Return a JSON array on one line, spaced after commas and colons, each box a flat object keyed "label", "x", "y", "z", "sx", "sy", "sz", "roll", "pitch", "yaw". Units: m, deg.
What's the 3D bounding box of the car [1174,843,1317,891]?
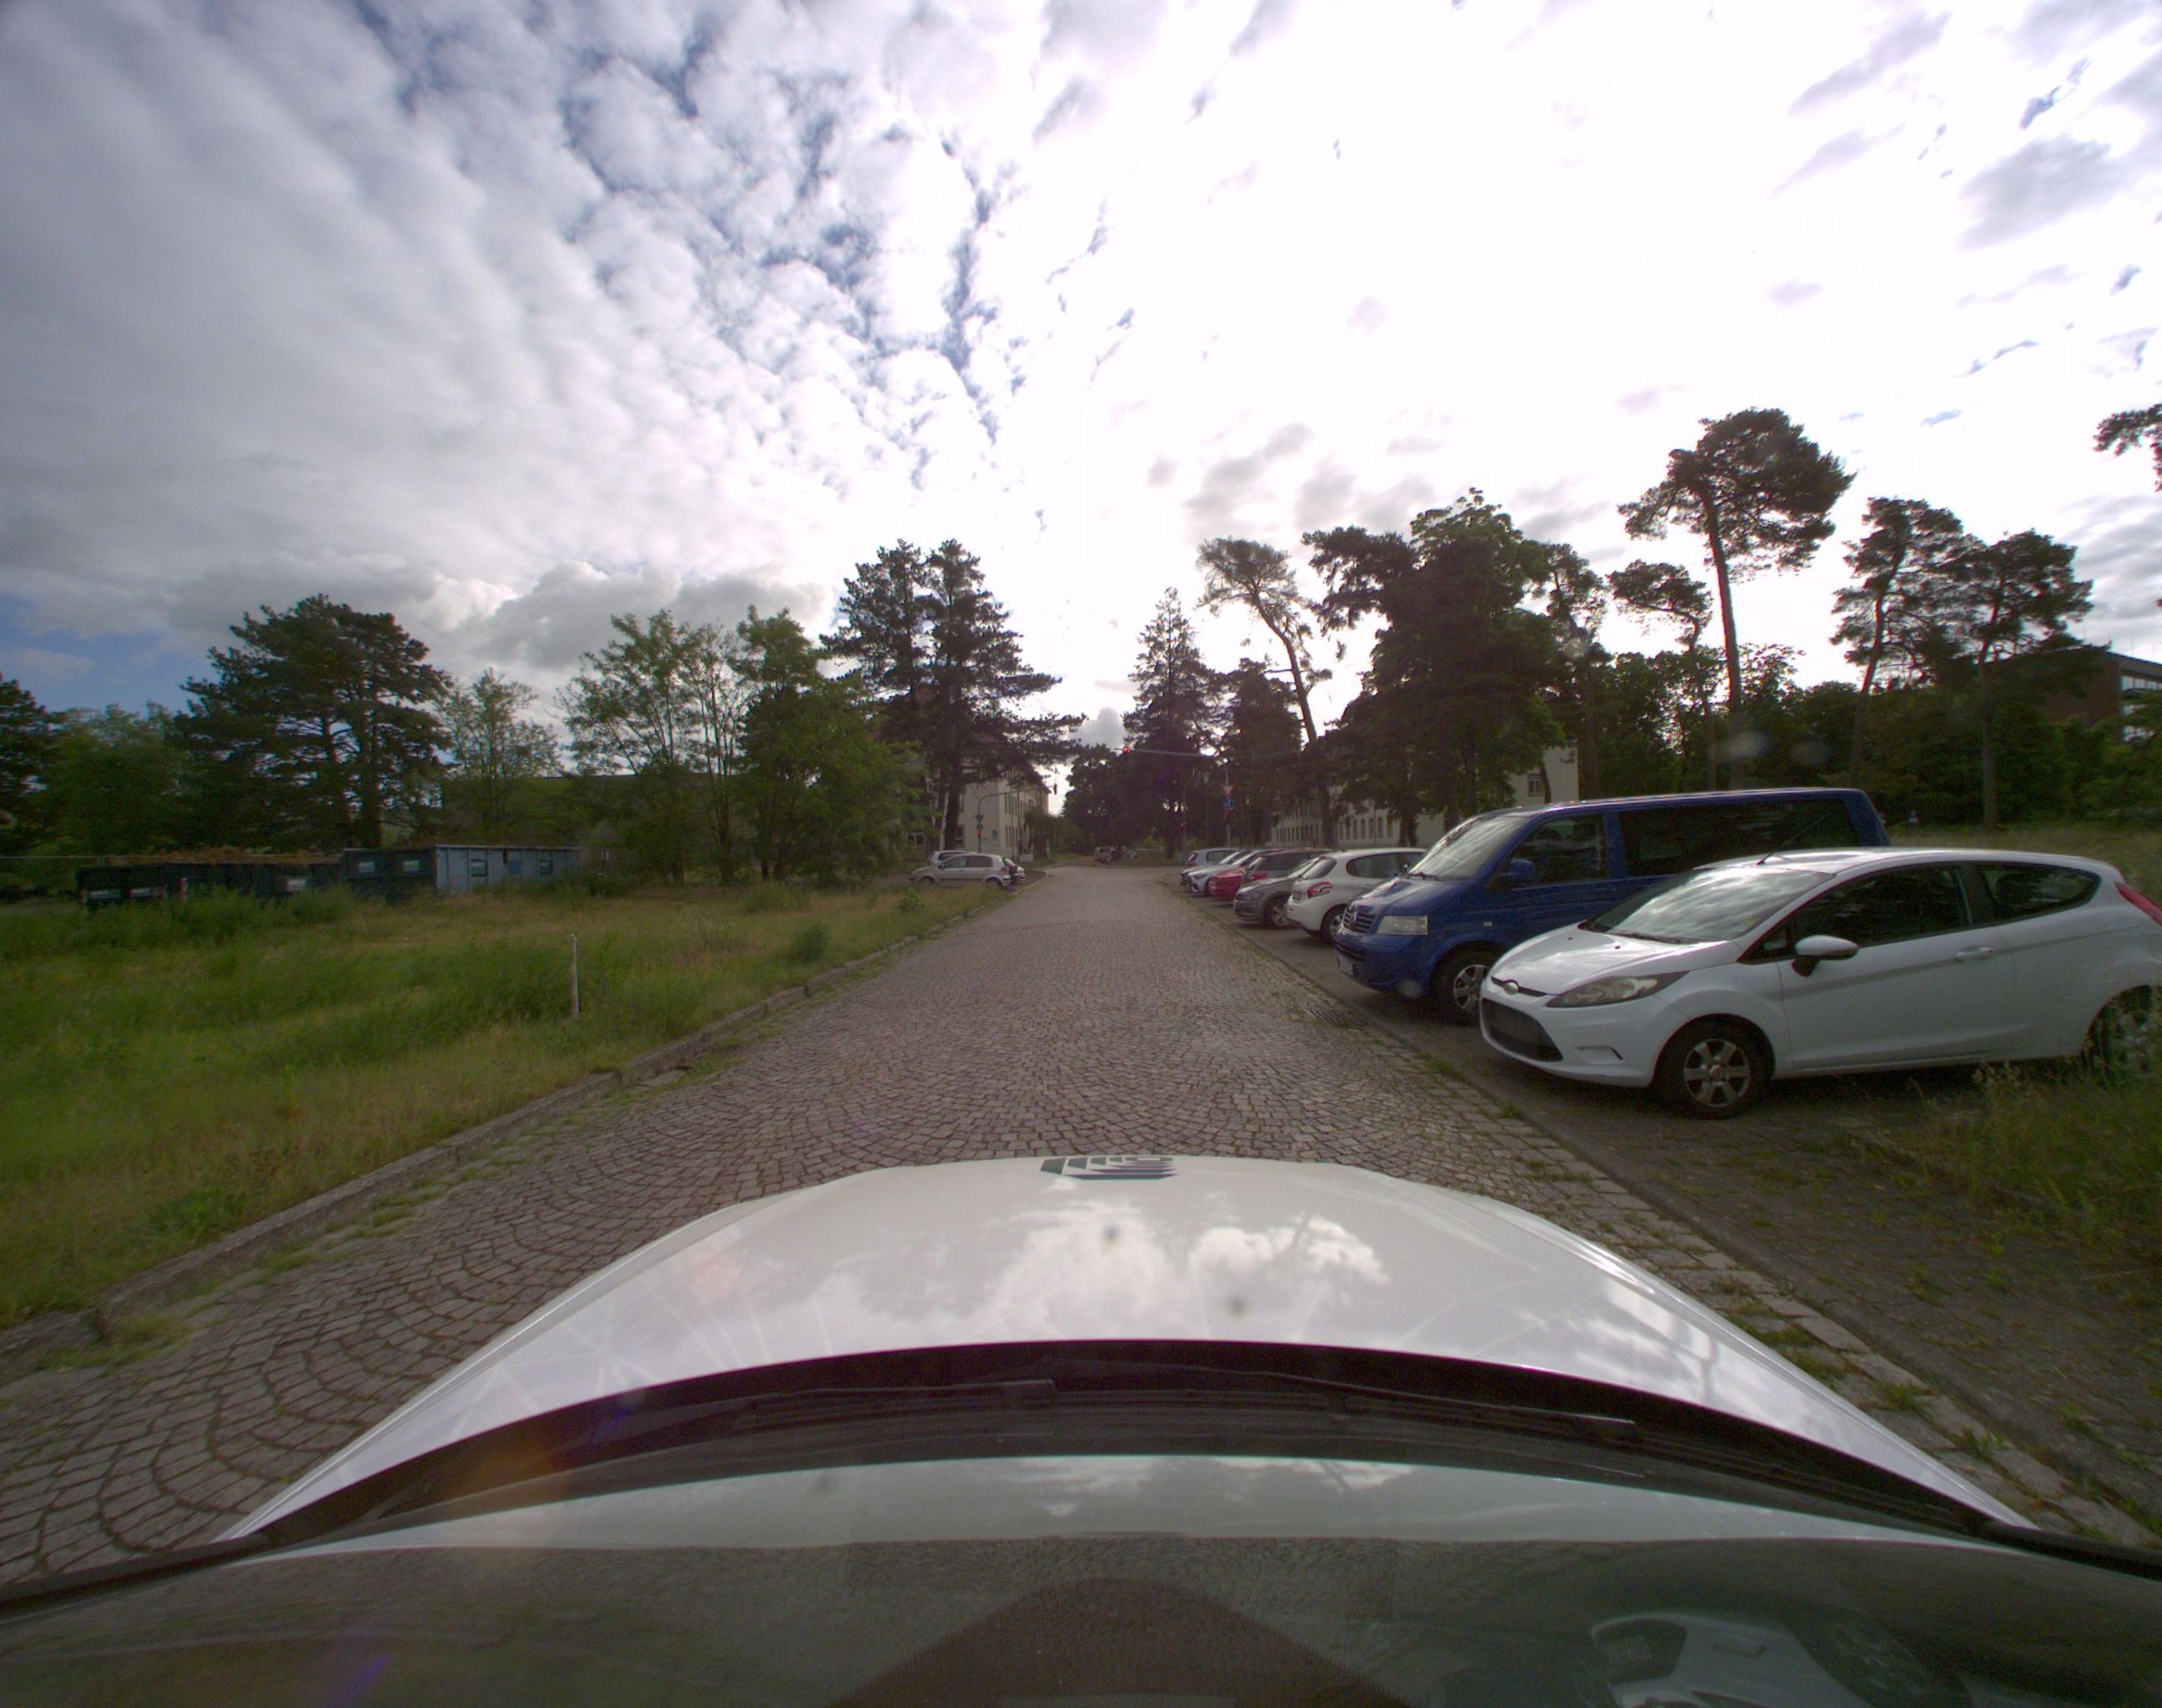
[{"label": "car", "x": 5.817, "y": 0.451, "z": 29.173, "sx": 4.667, "sy": 1.416, "sz": 1.870, "roll": -3, "pitch": 0, "yaw": -1}]

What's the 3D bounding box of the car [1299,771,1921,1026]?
[{"label": "car", "x": 4.850, "y": 0.378, "z": 8.058, "sx": 4.791, "sy": 1.945, "sz": 2.003, "roll": -3, "pitch": 0, "yaw": 0}]

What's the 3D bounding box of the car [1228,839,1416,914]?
[{"label": "car", "x": 5.552, "y": 0.492, "z": 19.108, "sx": 3.849, "sy": 1.472, "sz": 1.758, "roll": -3, "pitch": 0, "yaw": 0}]

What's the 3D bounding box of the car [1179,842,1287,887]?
[{"label": "car", "x": 5.848, "y": 0.387, "z": 31.627, "sx": 3.911, "sy": 1.477, "sz": 1.644, "roll": -3, "pitch": 0, "yaw": 3}]

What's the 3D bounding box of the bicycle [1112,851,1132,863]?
[{"label": "bicycle", "x": 4.058, "y": 0.335, "z": 80.539, "sx": 1.952, "sy": 1.132, "sz": 0.587, "roll": -1, "pitch": 0, "yaw": -6}]

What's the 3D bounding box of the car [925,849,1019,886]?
[{"label": "car", "x": -4.820, "y": 0.585, "z": 36.425, "sx": 3.936, "sy": 1.563, "sz": 1.649, "roll": 1, "pitch": 0, "yaw": -2}]

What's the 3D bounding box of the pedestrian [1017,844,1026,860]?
[{"label": "pedestrian", "x": -7.084, "y": -0.231, "z": 96.521, "sx": 0.778, "sy": 1.837, "sz": 0.734, "roll": -2, "pitch": 0, "yaw": -30}]

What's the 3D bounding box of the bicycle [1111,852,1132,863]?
[{"label": "bicycle", "x": 4.016, "y": 0.357, "z": 81.174, "sx": 1.952, "sy": 1.117, "sz": 0.587, "roll": -1, "pitch": 0, "yaw": -6}]

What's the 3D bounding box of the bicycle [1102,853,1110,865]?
[{"label": "bicycle", "x": 2.356, "y": 0.486, "z": 77.377, "sx": 0.602, "sy": 1.132, "sz": 1.959, "roll": -1, "pitch": 0, "yaw": -4}]

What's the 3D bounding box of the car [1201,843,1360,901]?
[{"label": "car", "x": 5.841, "y": 0.499, "z": 24.216, "sx": 4.246, "sy": 1.416, "sz": 1.872, "roll": -3, "pitch": 0, "yaw": 1}]

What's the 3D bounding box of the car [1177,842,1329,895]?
[{"label": "car", "x": 5.543, "y": 0.446, "z": 26.492, "sx": 4.418, "sy": 1.416, "sz": 1.866, "roll": -3, "pitch": 0, "yaw": -8}]

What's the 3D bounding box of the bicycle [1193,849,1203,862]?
[{"label": "bicycle", "x": 9.837, "y": 0.104, "z": 68.300, "sx": 0.584, "sy": 1.106, "sz": 1.962, "roll": -1, "pitch": 0, "yaw": 2}]

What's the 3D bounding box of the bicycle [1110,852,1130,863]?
[{"label": "bicycle", "x": 3.958, "y": 0.377, "z": 82.659, "sx": 1.966, "sy": 1.069, "sz": 0.582, "roll": -2, "pitch": 0, "yaw": -28}]

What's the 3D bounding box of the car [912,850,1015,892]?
[{"label": "car", "x": -4.422, "y": 0.643, "z": 31.036, "sx": 3.692, "sy": 1.479, "sz": 1.581, "roll": 1, "pitch": 0, "yaw": -2}]

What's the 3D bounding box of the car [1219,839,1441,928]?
[{"label": "car", "x": 4.860, "y": 0.554, "z": 16.278, "sx": 3.849, "sy": 1.472, "sz": 1.758, "roll": -3, "pitch": 0, "yaw": 0}]

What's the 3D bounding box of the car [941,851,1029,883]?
[{"label": "car", "x": -4.539, "y": 0.610, "z": 38.963, "sx": 3.934, "sy": 1.421, "sz": 1.650, "roll": 1, "pitch": 0, "yaw": 1}]

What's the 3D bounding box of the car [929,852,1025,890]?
[{"label": "car", "x": -4.241, "y": 0.689, "z": 33.631, "sx": 3.735, "sy": 1.428, "sz": 1.581, "roll": 1, "pitch": 0, "yaw": -2}]

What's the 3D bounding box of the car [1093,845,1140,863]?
[{"label": "car", "x": 4.260, "y": 0.001, "z": 98.631, "sx": 5.356, "sy": 1.925, "sz": 2.020, "roll": -3, "pitch": 0, "yaw": -8}]

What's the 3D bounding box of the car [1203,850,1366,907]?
[{"label": "car", "x": 5.327, "y": 0.631, "z": 21.666, "sx": 3.849, "sy": 1.236, "sz": 1.758, "roll": -3, "pitch": 0, "yaw": 0}]

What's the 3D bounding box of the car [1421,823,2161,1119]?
[{"label": "car", "x": 4.641, "y": 0.651, "z": 5.539, "sx": 3.849, "sy": 1.472, "sz": 1.841, "roll": -3, "pitch": 0, "yaw": 0}]

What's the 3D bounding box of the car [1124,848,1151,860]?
[{"label": "car", "x": 7.110, "y": 0.034, "z": 102.454, "sx": 3.223, "sy": 1.416, "sz": 1.724, "roll": -2, "pitch": 0, "yaw": -1}]

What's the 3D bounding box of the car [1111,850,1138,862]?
[{"label": "car", "x": 5.043, "y": 0.269, "z": 95.249, "sx": 3.000, "sy": 1.268, "sz": 1.533, "roll": -2, "pitch": 0, "yaw": -4}]

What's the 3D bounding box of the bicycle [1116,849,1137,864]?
[{"label": "bicycle", "x": 4.580, "y": 0.261, "z": 81.993, "sx": 1.952, "sy": 1.384, "sz": 0.587, "roll": -1, "pitch": 0, "yaw": -6}]

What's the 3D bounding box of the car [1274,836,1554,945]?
[{"label": "car", "x": 5.323, "y": 0.556, "z": 13.402, "sx": 3.849, "sy": 1.472, "sz": 1.758, "roll": -3, "pitch": 0, "yaw": 0}]

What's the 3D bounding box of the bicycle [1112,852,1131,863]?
[{"label": "bicycle", "x": 4.153, "y": 0.370, "z": 84.006, "sx": 1.966, "sy": 1.069, "sz": 0.582, "roll": -2, "pitch": 0, "yaw": -28}]
